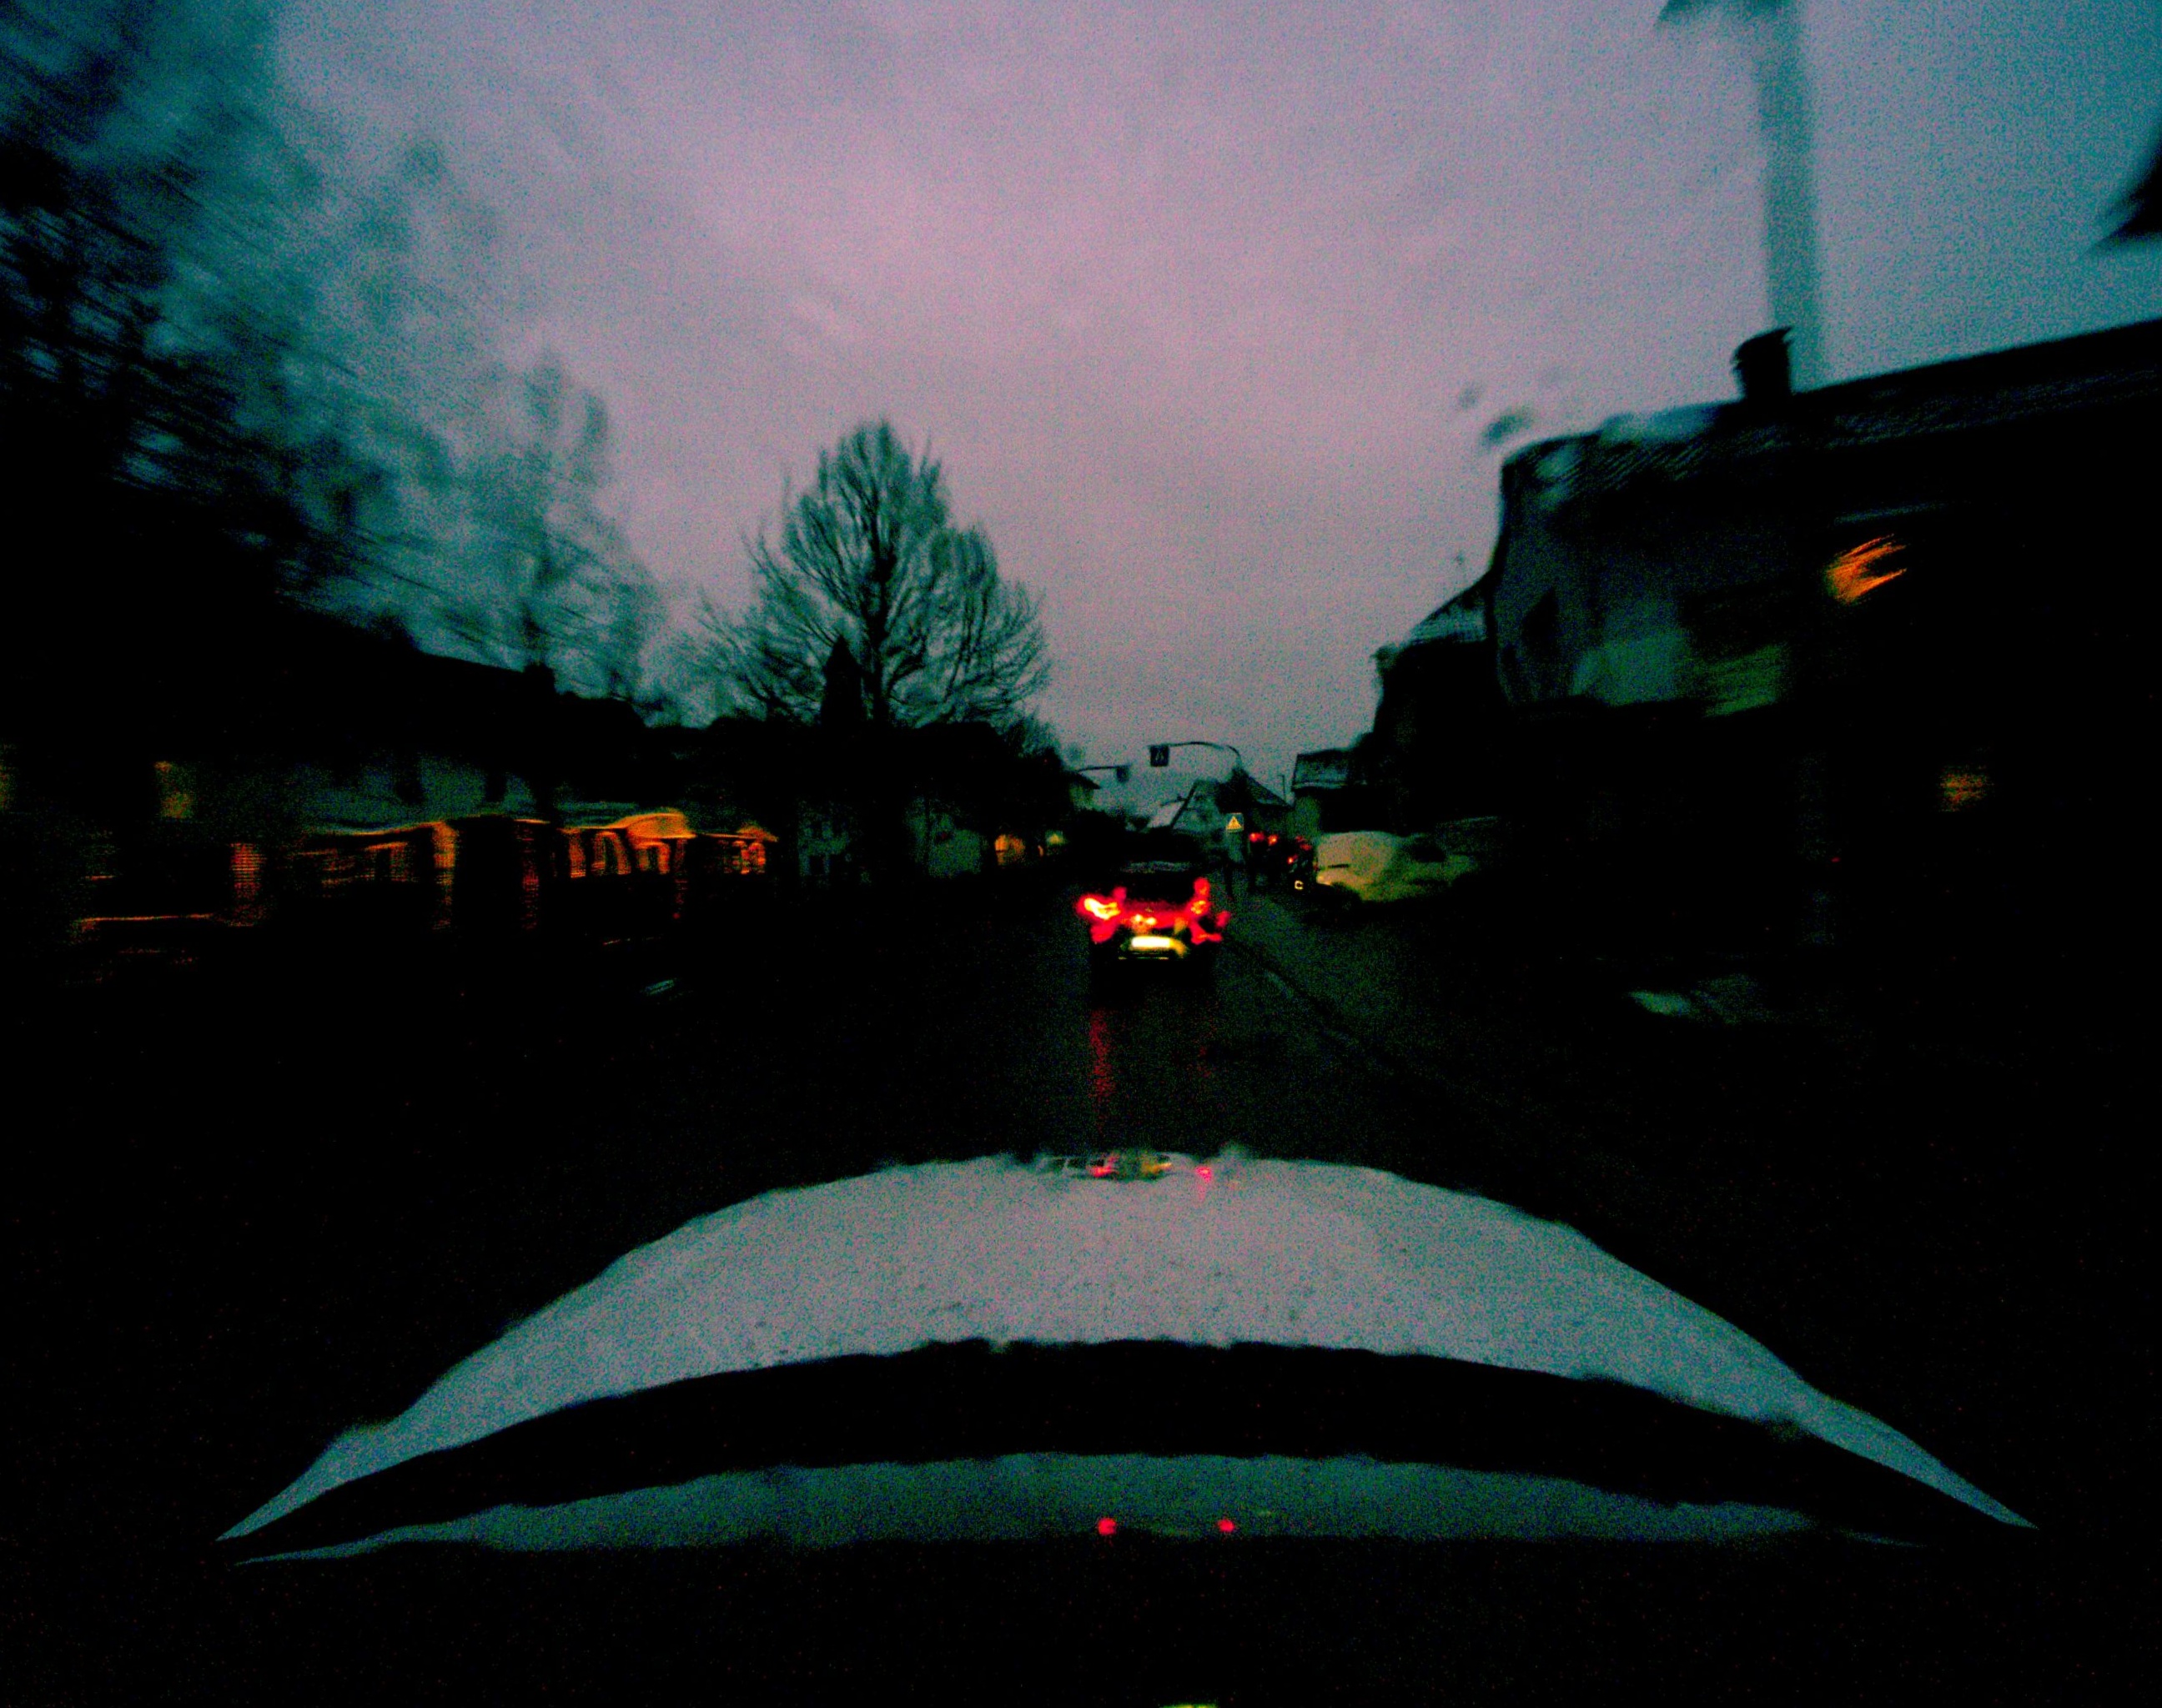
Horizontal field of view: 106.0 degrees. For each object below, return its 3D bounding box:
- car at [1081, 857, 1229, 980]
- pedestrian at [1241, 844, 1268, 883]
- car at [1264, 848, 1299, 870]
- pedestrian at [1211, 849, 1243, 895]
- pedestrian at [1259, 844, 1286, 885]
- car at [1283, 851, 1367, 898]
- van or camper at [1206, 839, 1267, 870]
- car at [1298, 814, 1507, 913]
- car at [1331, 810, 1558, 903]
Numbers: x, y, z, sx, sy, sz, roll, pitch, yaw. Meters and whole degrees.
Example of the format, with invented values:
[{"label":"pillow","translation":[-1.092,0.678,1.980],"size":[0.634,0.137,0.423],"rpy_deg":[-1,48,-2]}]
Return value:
[{"label":"car","translation":[1.034,0.803,12.054],"size":[1.787,1.476,4.004],"rpy_deg":[-1,0,3]},{"label":"pedestrian","translation":[7.742,0.412,36.310],"size":[0.859,1.667,0.997],"rpy_deg":[-6,-2,23]},{"label":"car","translation":[15.739,0.408,63.754],"size":[1.831,1.637,4.360],"rpy_deg":[-2,0,24]},{"label":"pedestrian","translation":[5.801,0.706,32.253],"size":[0.872,1.735,0.961],"rpy_deg":[-6,-2,24]},{"label":"pedestrian","translation":[8.469,0.453,36.072],"size":[0.840,1.733,0.977],"rpy_deg":[-6,-2,23]},{"label":"car","translation":[8.724,0.716,29.214],"size":[2.742,1.474,1.433],"rpy_deg":[-4,-1,16]},{"label":"van or camper","translation":[17.494,0.038,91.621],"size":[6.001,2.955,2.421],"rpy_deg":[-6,-3,31]},{"label":"car","translation":[7.142,0.235,18.515],"size":[4.016,1.843,1.869],"rpy_deg":[-5,-1,11]},{"label":"car","translation":[9.044,0.075,20.744],"size":[4.943,1.889,1.945],"rpy_deg":[-5,-1,15]}]
